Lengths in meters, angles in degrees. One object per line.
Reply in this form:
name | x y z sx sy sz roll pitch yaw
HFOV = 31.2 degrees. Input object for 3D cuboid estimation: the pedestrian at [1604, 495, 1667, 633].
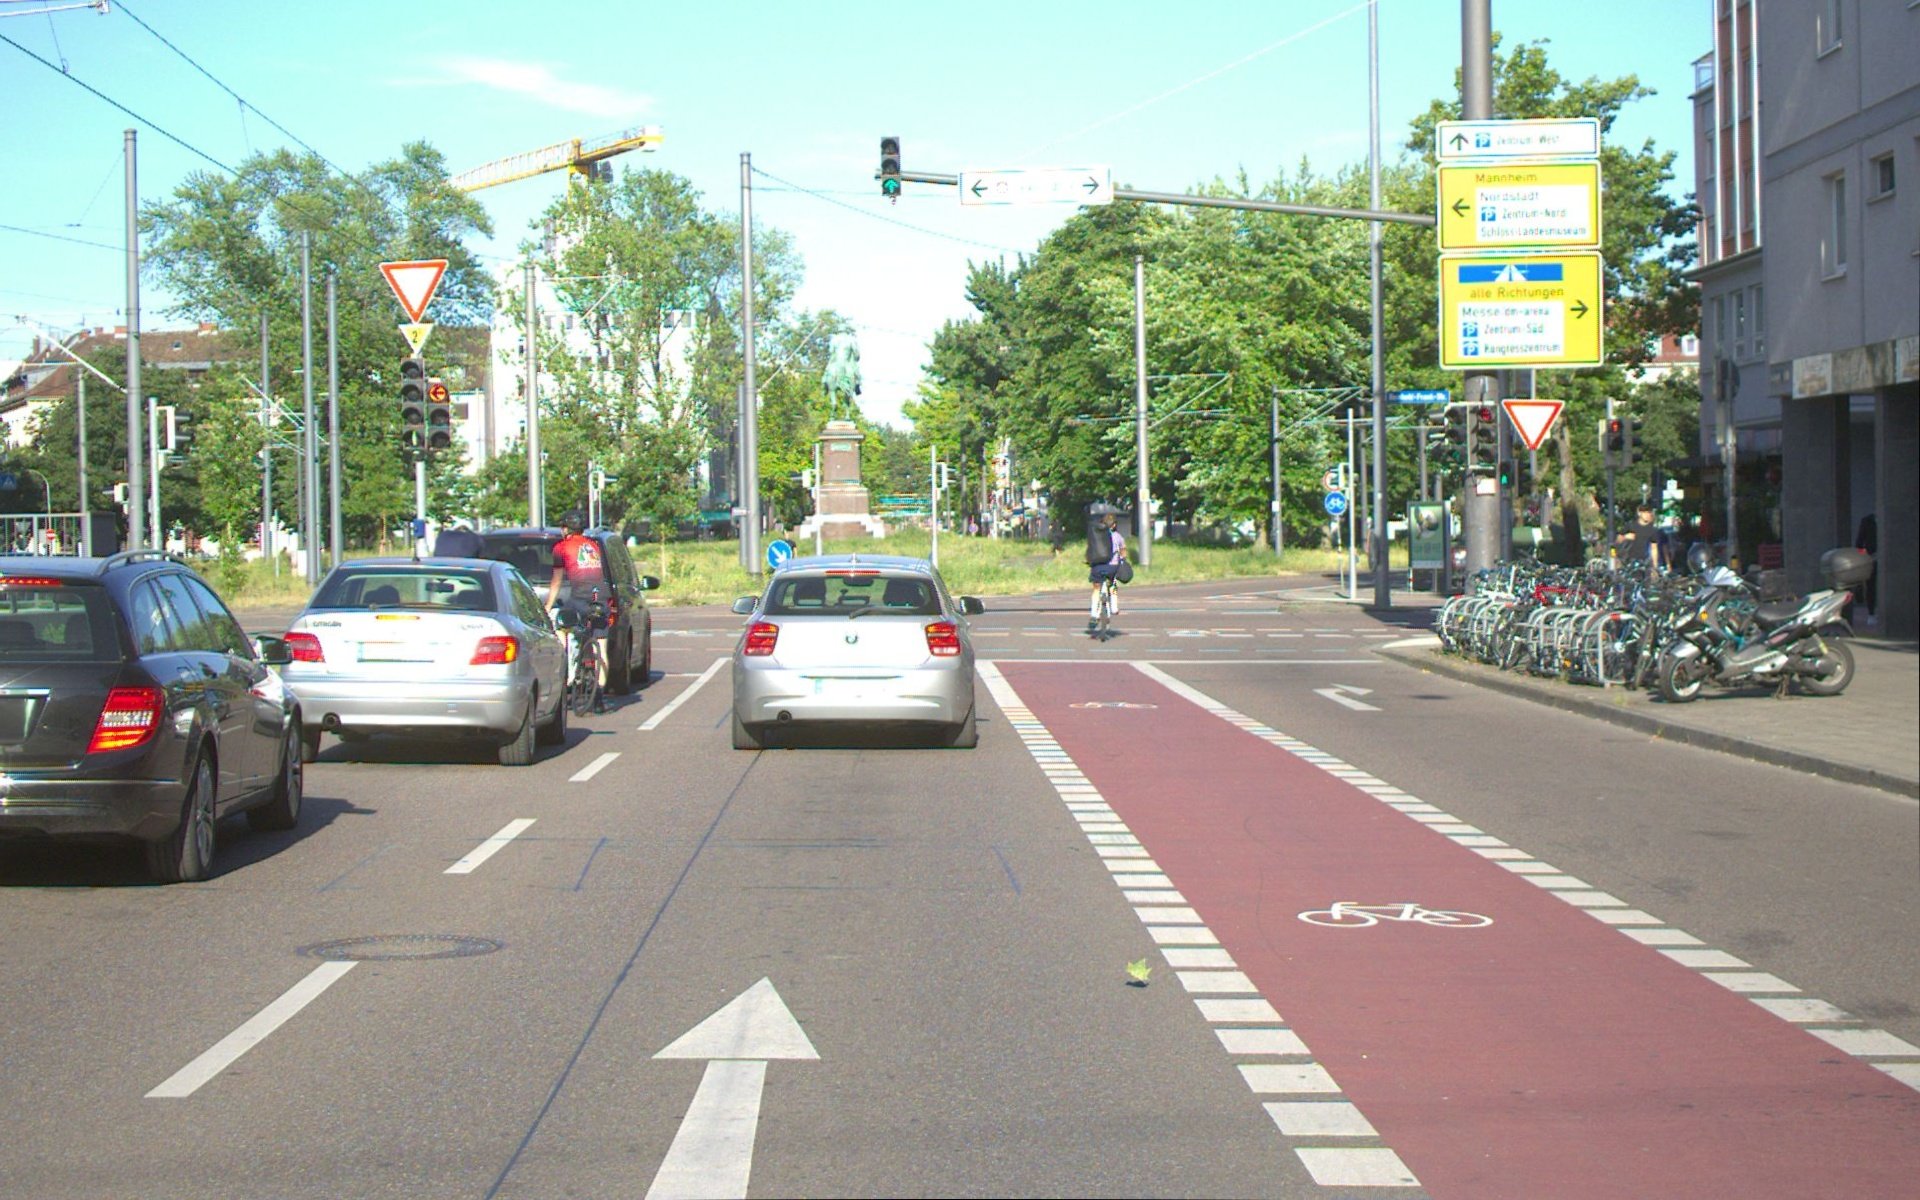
pedestrian | 9.943 -0.534 50.630 0.791 2.007 0.870 1 1 6

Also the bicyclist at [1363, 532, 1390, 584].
bicyclist | 11.175 -1.118 92.332 0.616 1.375 0.686 1 1 1

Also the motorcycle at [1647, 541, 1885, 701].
motorcycle | 6.901 0.174 29.490 1.855 1.296 0.652 -2 1 2

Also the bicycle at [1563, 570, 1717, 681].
bicycle | 6.804 0.252 34.420 1.465 1.063 0.257 -2 0 1

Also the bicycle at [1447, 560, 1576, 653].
bicycle | 6.545 0.072 40.819 1.465 1.063 0.257 -2 0 1

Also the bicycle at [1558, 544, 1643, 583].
bicycle | 18.435 -1.049 99.010 2.320 1.064 0.555 1 1 22

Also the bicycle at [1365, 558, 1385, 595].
bicycle | 11.155 -0.638 92.404 0.352 0.955 1.573 1 1 0

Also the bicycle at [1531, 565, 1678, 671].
bicycle | 6.720 0.183 35.854 1.465 1.063 0.257 -2 0 1

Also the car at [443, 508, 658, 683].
car | -4.016 -0.086 34.256 1.704 1.616 4.000 -1 1 -1

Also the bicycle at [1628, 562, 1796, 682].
bicycle | 6.922 0.203 31.658 1.465 1.063 0.257 -2 0 1

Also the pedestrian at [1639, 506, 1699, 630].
pedestrian | 10.820 -0.490 52.465 0.826 1.850 0.916 1 1 14

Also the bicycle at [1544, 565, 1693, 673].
bicycle | 6.791 0.194 35.485 1.465 1.063 0.257 -2 0 1

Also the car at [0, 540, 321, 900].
car | -4.160 0.456 16.201 1.726 1.465 4.411 0 1 -3

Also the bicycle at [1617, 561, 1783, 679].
bicycle | 6.912 0.186 32.132 1.465 1.063 0.257 -2 0 1

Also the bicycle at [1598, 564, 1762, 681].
bicycle | 6.816 0.212 32.559 1.465 1.063 0.257 -2 0 1

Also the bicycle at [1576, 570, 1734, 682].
bicycle | 6.820 0.252 33.753 1.465 1.063 0.257 -2 0 1

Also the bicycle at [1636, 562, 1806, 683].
bicycle | 6.929 0.205 31.305 1.465 1.063 0.257 -2 0 1

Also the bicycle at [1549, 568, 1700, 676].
bicycle | 6.791 0.223 35.143 1.465 1.063 0.257 -2 0 1

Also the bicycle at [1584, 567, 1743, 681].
bicycle | 6.825 0.235 33.380 1.465 1.063 0.257 -2 0 1

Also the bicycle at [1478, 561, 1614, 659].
bicycle | 6.609 0.109 38.786 1.465 1.063 0.257 -2 0 1

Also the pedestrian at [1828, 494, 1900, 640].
pedestrian | 12.578 -0.463 47.852 0.843 2.007 0.889 1 1 9

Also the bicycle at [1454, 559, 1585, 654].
bicycle | 6.524 0.078 40.088 1.465 1.063 0.257 -2 0 1

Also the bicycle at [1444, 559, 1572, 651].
bicycle | 6.561 0.058 41.185 1.465 1.063 0.257 -2 0 1

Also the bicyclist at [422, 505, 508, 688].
bicyclist | -4.306 -0.037 29.953 0.616 1.566 0.686 1 1 1

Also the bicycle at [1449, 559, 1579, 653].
bicycle | 6.514 0.066 40.450 1.465 1.063 0.257 -2 0 1

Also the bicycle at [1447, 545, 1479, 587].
bicycle | 12.189 -0.825 83.355 0.417 1.005 1.945 1 1 -2

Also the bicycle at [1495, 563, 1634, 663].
bicycle | 6.646 0.142 37.824 1.465 1.063 0.257 -2 0 1

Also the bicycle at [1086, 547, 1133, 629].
bicycle | 2.047 -0.172 47.115 0.499 1.085 1.997 1 1 -1

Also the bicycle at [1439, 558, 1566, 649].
bicycle | 6.547 0.042 41.520 1.465 1.063 0.257 -2 0 1

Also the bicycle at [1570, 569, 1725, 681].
bicycle | 6.814 0.249 34.098 1.465 1.063 0.257 -2 0 1

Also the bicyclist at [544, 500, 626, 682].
bicyclist | -3.279 -0.085 30.035 0.616 1.566 0.686 -1 1 -12

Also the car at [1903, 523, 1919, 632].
car | 19.862 -0.374 63.401 4.361 2.007 1.972 1 1 1

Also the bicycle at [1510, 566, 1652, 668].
bicycle | 6.697 0.180 37.081 1.465 1.063 0.257 -2 0 1

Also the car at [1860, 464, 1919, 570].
car | 20.029 -1.546 66.293 4.729 2.007 2.259 1 1 1

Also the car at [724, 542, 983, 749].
car | -0.768 0.284 26.162 1.798 1.410 4.000 -1 1 -1

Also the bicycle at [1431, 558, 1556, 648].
bicycle | 6.504 0.036 41.912 1.465 1.063 0.257 -2 0 1

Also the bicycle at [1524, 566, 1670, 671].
bicycle | 6.704 0.195 36.197 1.465 1.063 0.257 -2 0 1

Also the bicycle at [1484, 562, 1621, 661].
bicycle | 6.626 0.127 38.466 1.465 1.063 0.257 -2 0 1

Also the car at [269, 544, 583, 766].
car | -3.666 0.326 24.188 1.644 1.416 4.000 1 1 -1

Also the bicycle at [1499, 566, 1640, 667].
bicycle | 6.651 0.180 37.507 1.465 1.063 0.257 -2 0 1

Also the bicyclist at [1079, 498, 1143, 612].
bicyclist | 2.067 -0.617 47.135 0.785 1.526 0.895 1 1 -1

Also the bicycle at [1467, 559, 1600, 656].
bicycle | 6.570 0.082 39.402 1.465 1.063 0.257 -2 0 1

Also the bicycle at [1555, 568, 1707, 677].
bicycle | 6.790 0.229 34.799 1.465 1.063 0.257 -2 0 1

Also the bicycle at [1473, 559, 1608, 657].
bicycle | 6.596 0.089 39.107 1.465 1.063 0.257 -2 0 1

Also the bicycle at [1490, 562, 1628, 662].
bicycle | 6.643 0.135 38.138 1.465 1.063 0.257 -2 0 1

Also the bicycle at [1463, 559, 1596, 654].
bicycle | 6.583 0.075 39.732 1.465 1.063 0.257 -2 0 1

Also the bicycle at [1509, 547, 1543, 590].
bicycle | 13.545 -0.768 82.315 0.417 1.005 1.945 1 1 -2

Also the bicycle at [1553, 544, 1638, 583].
bicycle | 18.187 -1.043 98.435 2.320 1.064 0.555 1 1 22

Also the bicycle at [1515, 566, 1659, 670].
bicycle | 6.674 0.190 36.623 1.465 1.063 0.257 -2 0 1

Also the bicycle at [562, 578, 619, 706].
bicycle | -3.233 0.349 30.026 0.338 1.053 1.779 -1 1 -11

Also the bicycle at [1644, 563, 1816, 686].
bicycle | 6.928 0.221 30.934 1.465 1.063 0.257 -2 0 1
